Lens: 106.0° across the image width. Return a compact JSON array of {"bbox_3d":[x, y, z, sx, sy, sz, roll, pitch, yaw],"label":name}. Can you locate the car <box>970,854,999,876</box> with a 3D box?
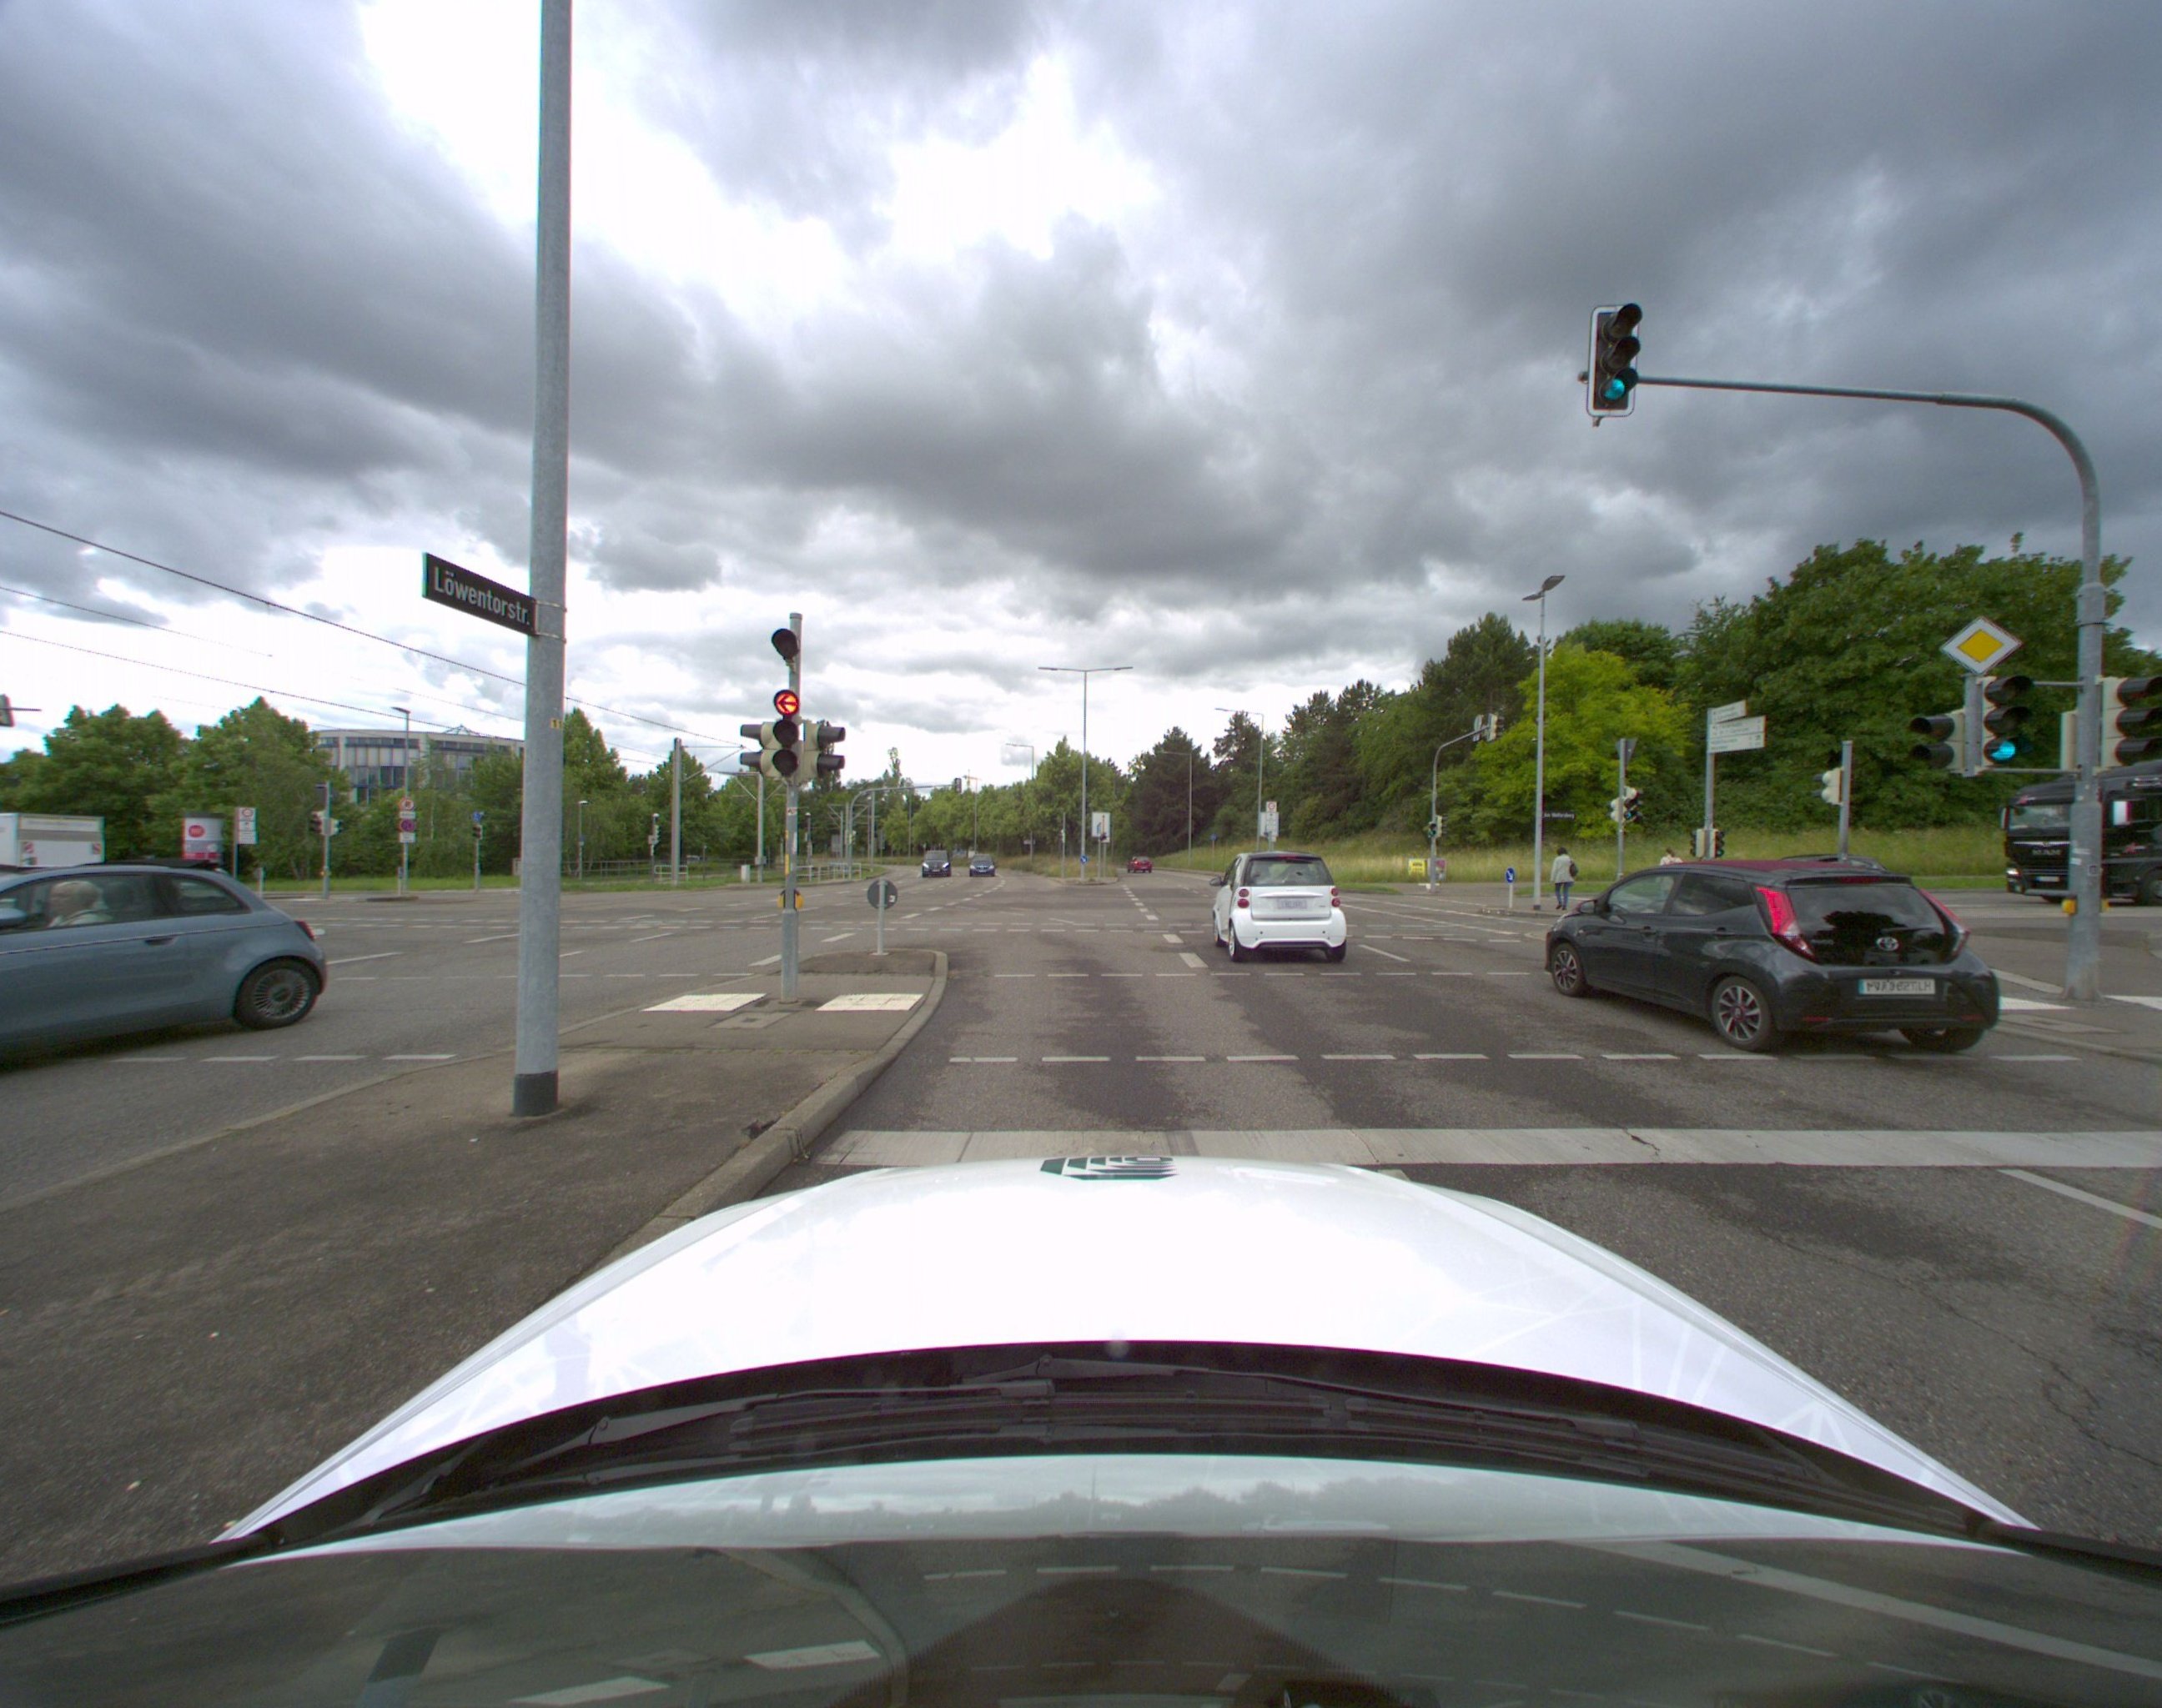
[{"bbox_3d":[-6.738,0.753,57.283,1.732,1.508,3.656,0,-1,-3],"label":"car"}]

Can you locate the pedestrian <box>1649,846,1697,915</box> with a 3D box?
[{"bbox_3d":[14.002,0.621,19.268,0.640,1.612,0.715,0,-1,7],"label":"pedestrian"}]

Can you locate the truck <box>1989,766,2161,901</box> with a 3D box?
[{"bbox_3d":[29.388,-0.528,22.229,5.971,3.486,2.694,0,-1,4],"label":"truck"}]

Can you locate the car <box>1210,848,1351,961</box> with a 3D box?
[{"bbox_3d":[2.911,0.695,12.374,1.585,1.516,2.768,0,-1,3],"label":"car"}]

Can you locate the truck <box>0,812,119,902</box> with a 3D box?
[{"bbox_3d":[-46.130,0.138,34.122,9.201,3.532,3.023,0,0,8],"label":"truck"}]

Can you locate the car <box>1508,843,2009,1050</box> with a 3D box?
[{"bbox_3d":[5.811,0.675,7.710,1.607,1.453,3.883,0,-1,2],"label":"car"}]

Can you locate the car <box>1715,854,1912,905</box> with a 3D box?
[{"bbox_3d":[20.340,0.698,22.746,3.859,1.338,1.698,0,-1,4],"label":"car"}]

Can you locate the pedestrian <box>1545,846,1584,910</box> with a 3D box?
[{"bbox_3d":[12.733,0.617,21.473,0.640,1.662,0.715,0,-1,8],"label":"pedestrian"}]

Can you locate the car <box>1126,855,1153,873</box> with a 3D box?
[{"bbox_3d":[5.403,0.889,75.755,1.783,1.603,3.878,0,-1,-7],"label":"car"}]

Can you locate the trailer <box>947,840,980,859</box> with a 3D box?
[{"bbox_3d":[-19.716,-0.686,136.774,2.770,3.012,6.015,0,-1,-40],"label":"trailer"}]

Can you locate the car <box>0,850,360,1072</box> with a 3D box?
[{"bbox_3d":[-8.222,0.752,6.302,1.745,1.528,3.611,-1,-1,11],"label":"car"}]

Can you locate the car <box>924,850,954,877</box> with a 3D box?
[{"bbox_3d":[-10.141,0.659,58.397,1.886,1.812,5.079,-1,0,-7],"label":"car"}]
